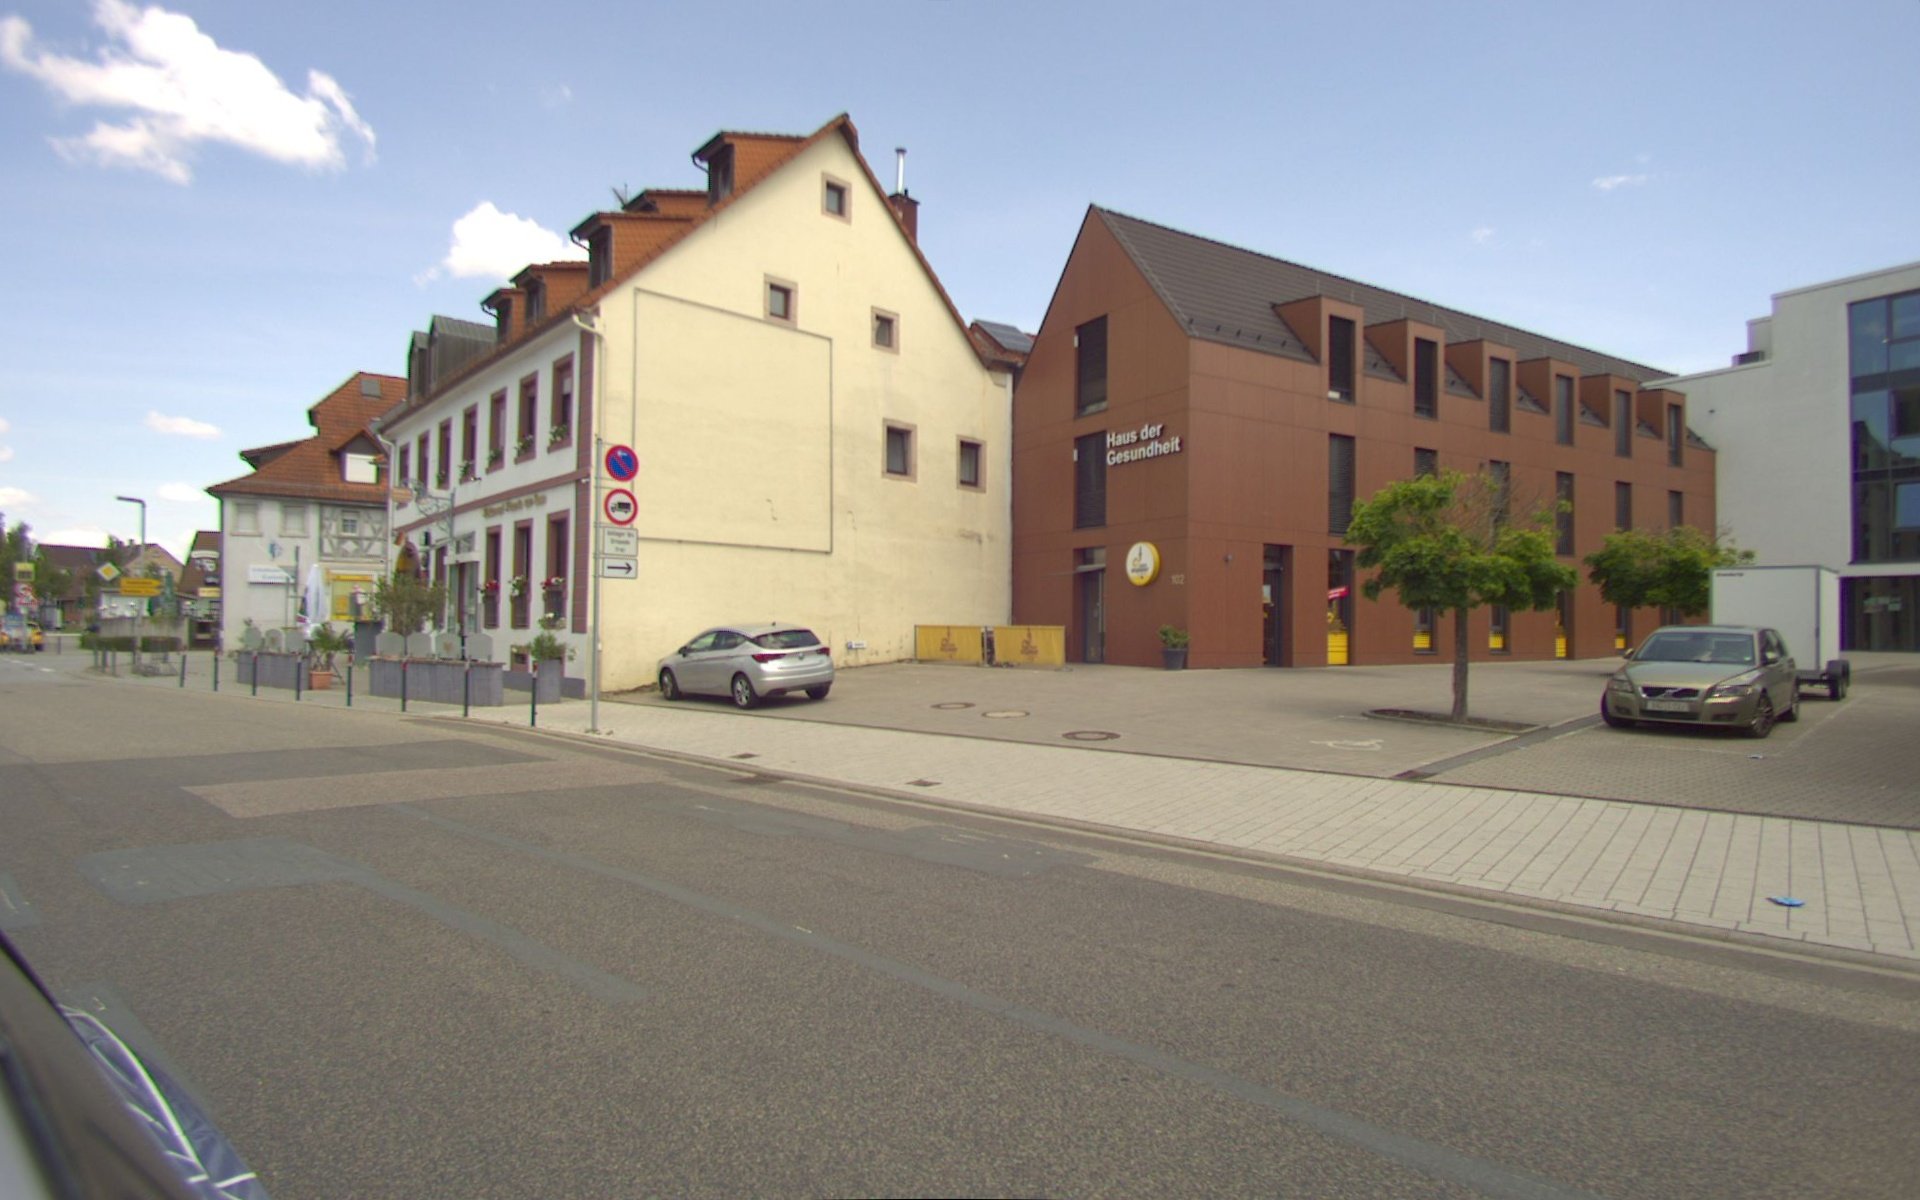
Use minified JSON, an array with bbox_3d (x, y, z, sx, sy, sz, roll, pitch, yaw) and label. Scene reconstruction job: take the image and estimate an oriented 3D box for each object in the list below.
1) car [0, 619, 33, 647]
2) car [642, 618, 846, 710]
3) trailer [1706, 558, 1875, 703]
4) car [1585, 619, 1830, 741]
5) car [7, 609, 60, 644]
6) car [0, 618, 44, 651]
[{"bbox_3d":[-50.311,1.744,53.530,1.794,1.434,4.543,2,-3,-42],"label":"car"},{"bbox_3d":[-4.176,1.112,19.110,1.738,1.504,4.278,-1,-1,-45],"label":"car"},{"bbox_3d":[15.927,0.513,19.326,4.374,2.444,1.966,0,0,-44],"label":"trailer"},{"bbox_3d":[10.824,1.016,14.540,4.372,1.399,1.967,0,0,-41],"label":"car"},{"bbox_3d":[-54.930,1.599,60.060,1.961,2.005,5.053,2,-3,-39],"label":"car"},{"bbox_3d":[-45.511,1.666,48.865,1.649,1.486,3.965,3,-3,-45],"label":"car"}]
